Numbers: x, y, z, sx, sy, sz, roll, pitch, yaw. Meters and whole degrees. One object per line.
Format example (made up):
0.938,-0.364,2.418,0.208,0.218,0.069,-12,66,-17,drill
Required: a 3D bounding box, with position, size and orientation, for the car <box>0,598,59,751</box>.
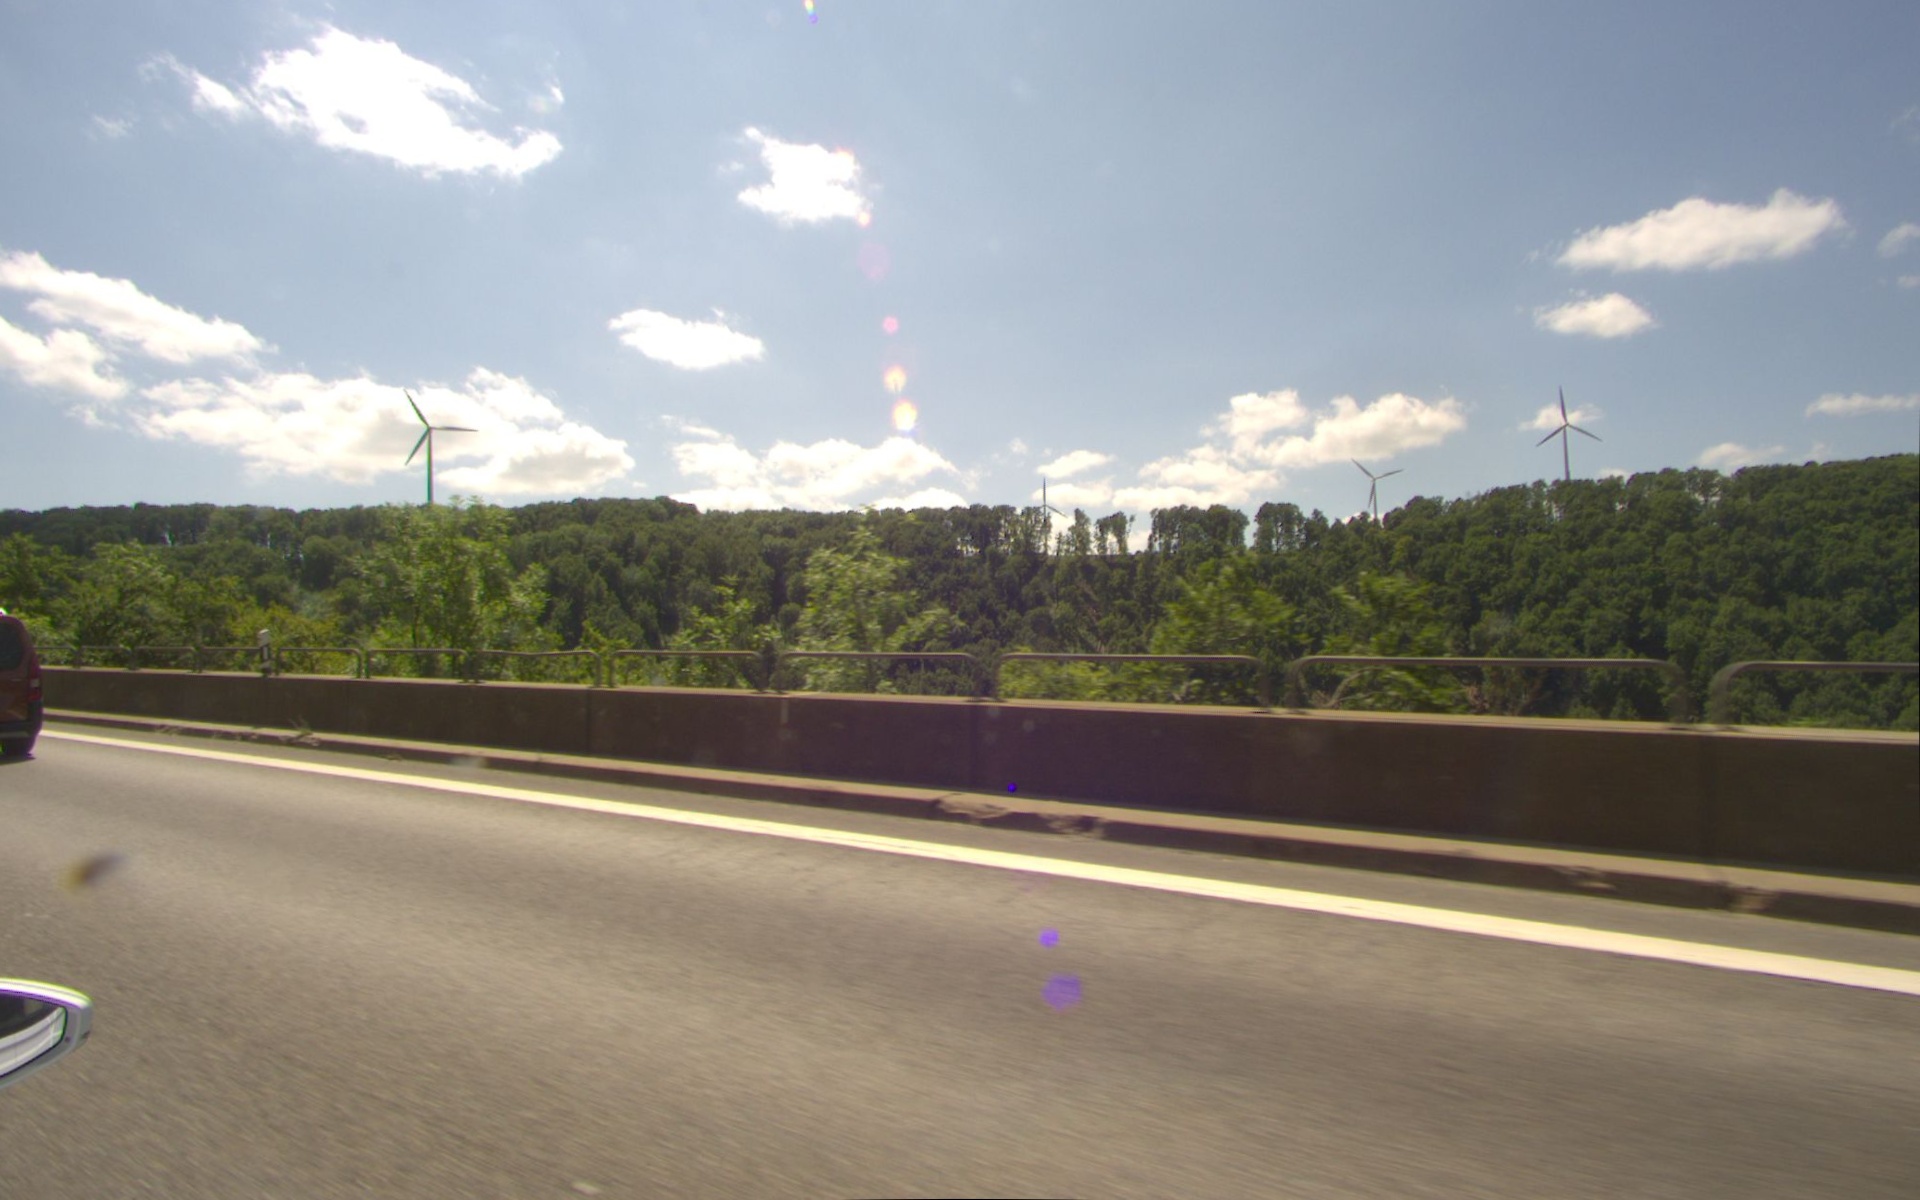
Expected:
-13.504,0.933,12.716,4.608,1.807,1.830,-2,-1,31,car
